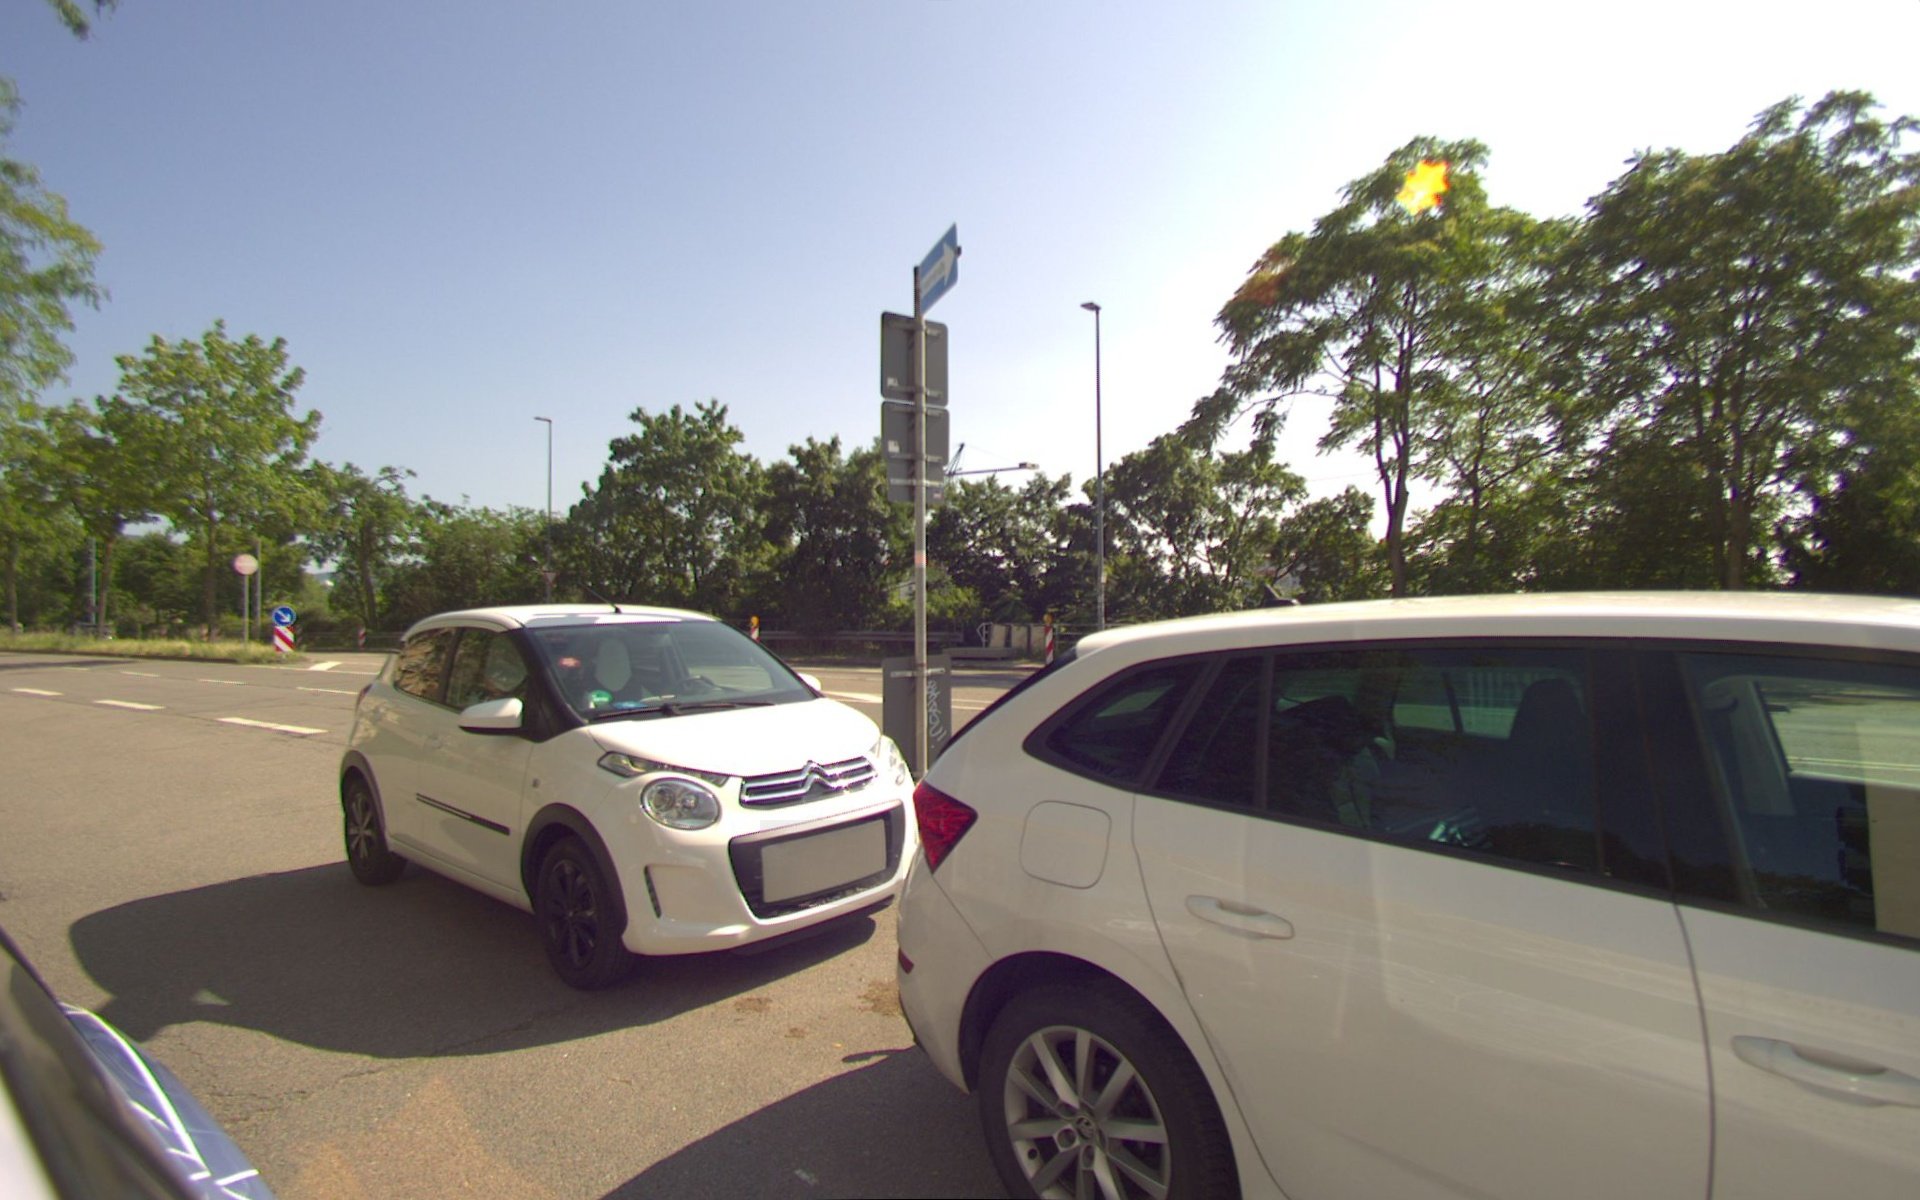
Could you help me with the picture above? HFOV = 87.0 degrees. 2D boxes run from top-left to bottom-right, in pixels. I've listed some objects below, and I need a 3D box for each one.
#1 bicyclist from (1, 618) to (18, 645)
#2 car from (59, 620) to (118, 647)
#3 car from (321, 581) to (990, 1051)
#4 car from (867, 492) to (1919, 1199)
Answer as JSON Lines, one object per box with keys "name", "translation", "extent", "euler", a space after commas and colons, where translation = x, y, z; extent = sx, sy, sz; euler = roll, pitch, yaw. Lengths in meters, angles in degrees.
{"name": "bicyclist", "translation": [-67.004, 2.203, 71.334], "extent": [1.014, 1.846, 0.691], "euler": [-1, -2, 34]}
{"name": "car", "translation": [-58.437, 2.230, 67.805], "extent": [4.720, 1.747, 1.976], "euler": [-1, -1, 36]}
{"name": "car", "translation": [-1.697, 0.717, 5.027], "extent": [3.460, 1.517, 1.602], "euler": [-1, 0, 42]}
{"name": "car", "translation": [1.869, 0.631, 1.773], "extent": [4.130, 1.517, 1.703], "euler": [-1, -2, 42]}
